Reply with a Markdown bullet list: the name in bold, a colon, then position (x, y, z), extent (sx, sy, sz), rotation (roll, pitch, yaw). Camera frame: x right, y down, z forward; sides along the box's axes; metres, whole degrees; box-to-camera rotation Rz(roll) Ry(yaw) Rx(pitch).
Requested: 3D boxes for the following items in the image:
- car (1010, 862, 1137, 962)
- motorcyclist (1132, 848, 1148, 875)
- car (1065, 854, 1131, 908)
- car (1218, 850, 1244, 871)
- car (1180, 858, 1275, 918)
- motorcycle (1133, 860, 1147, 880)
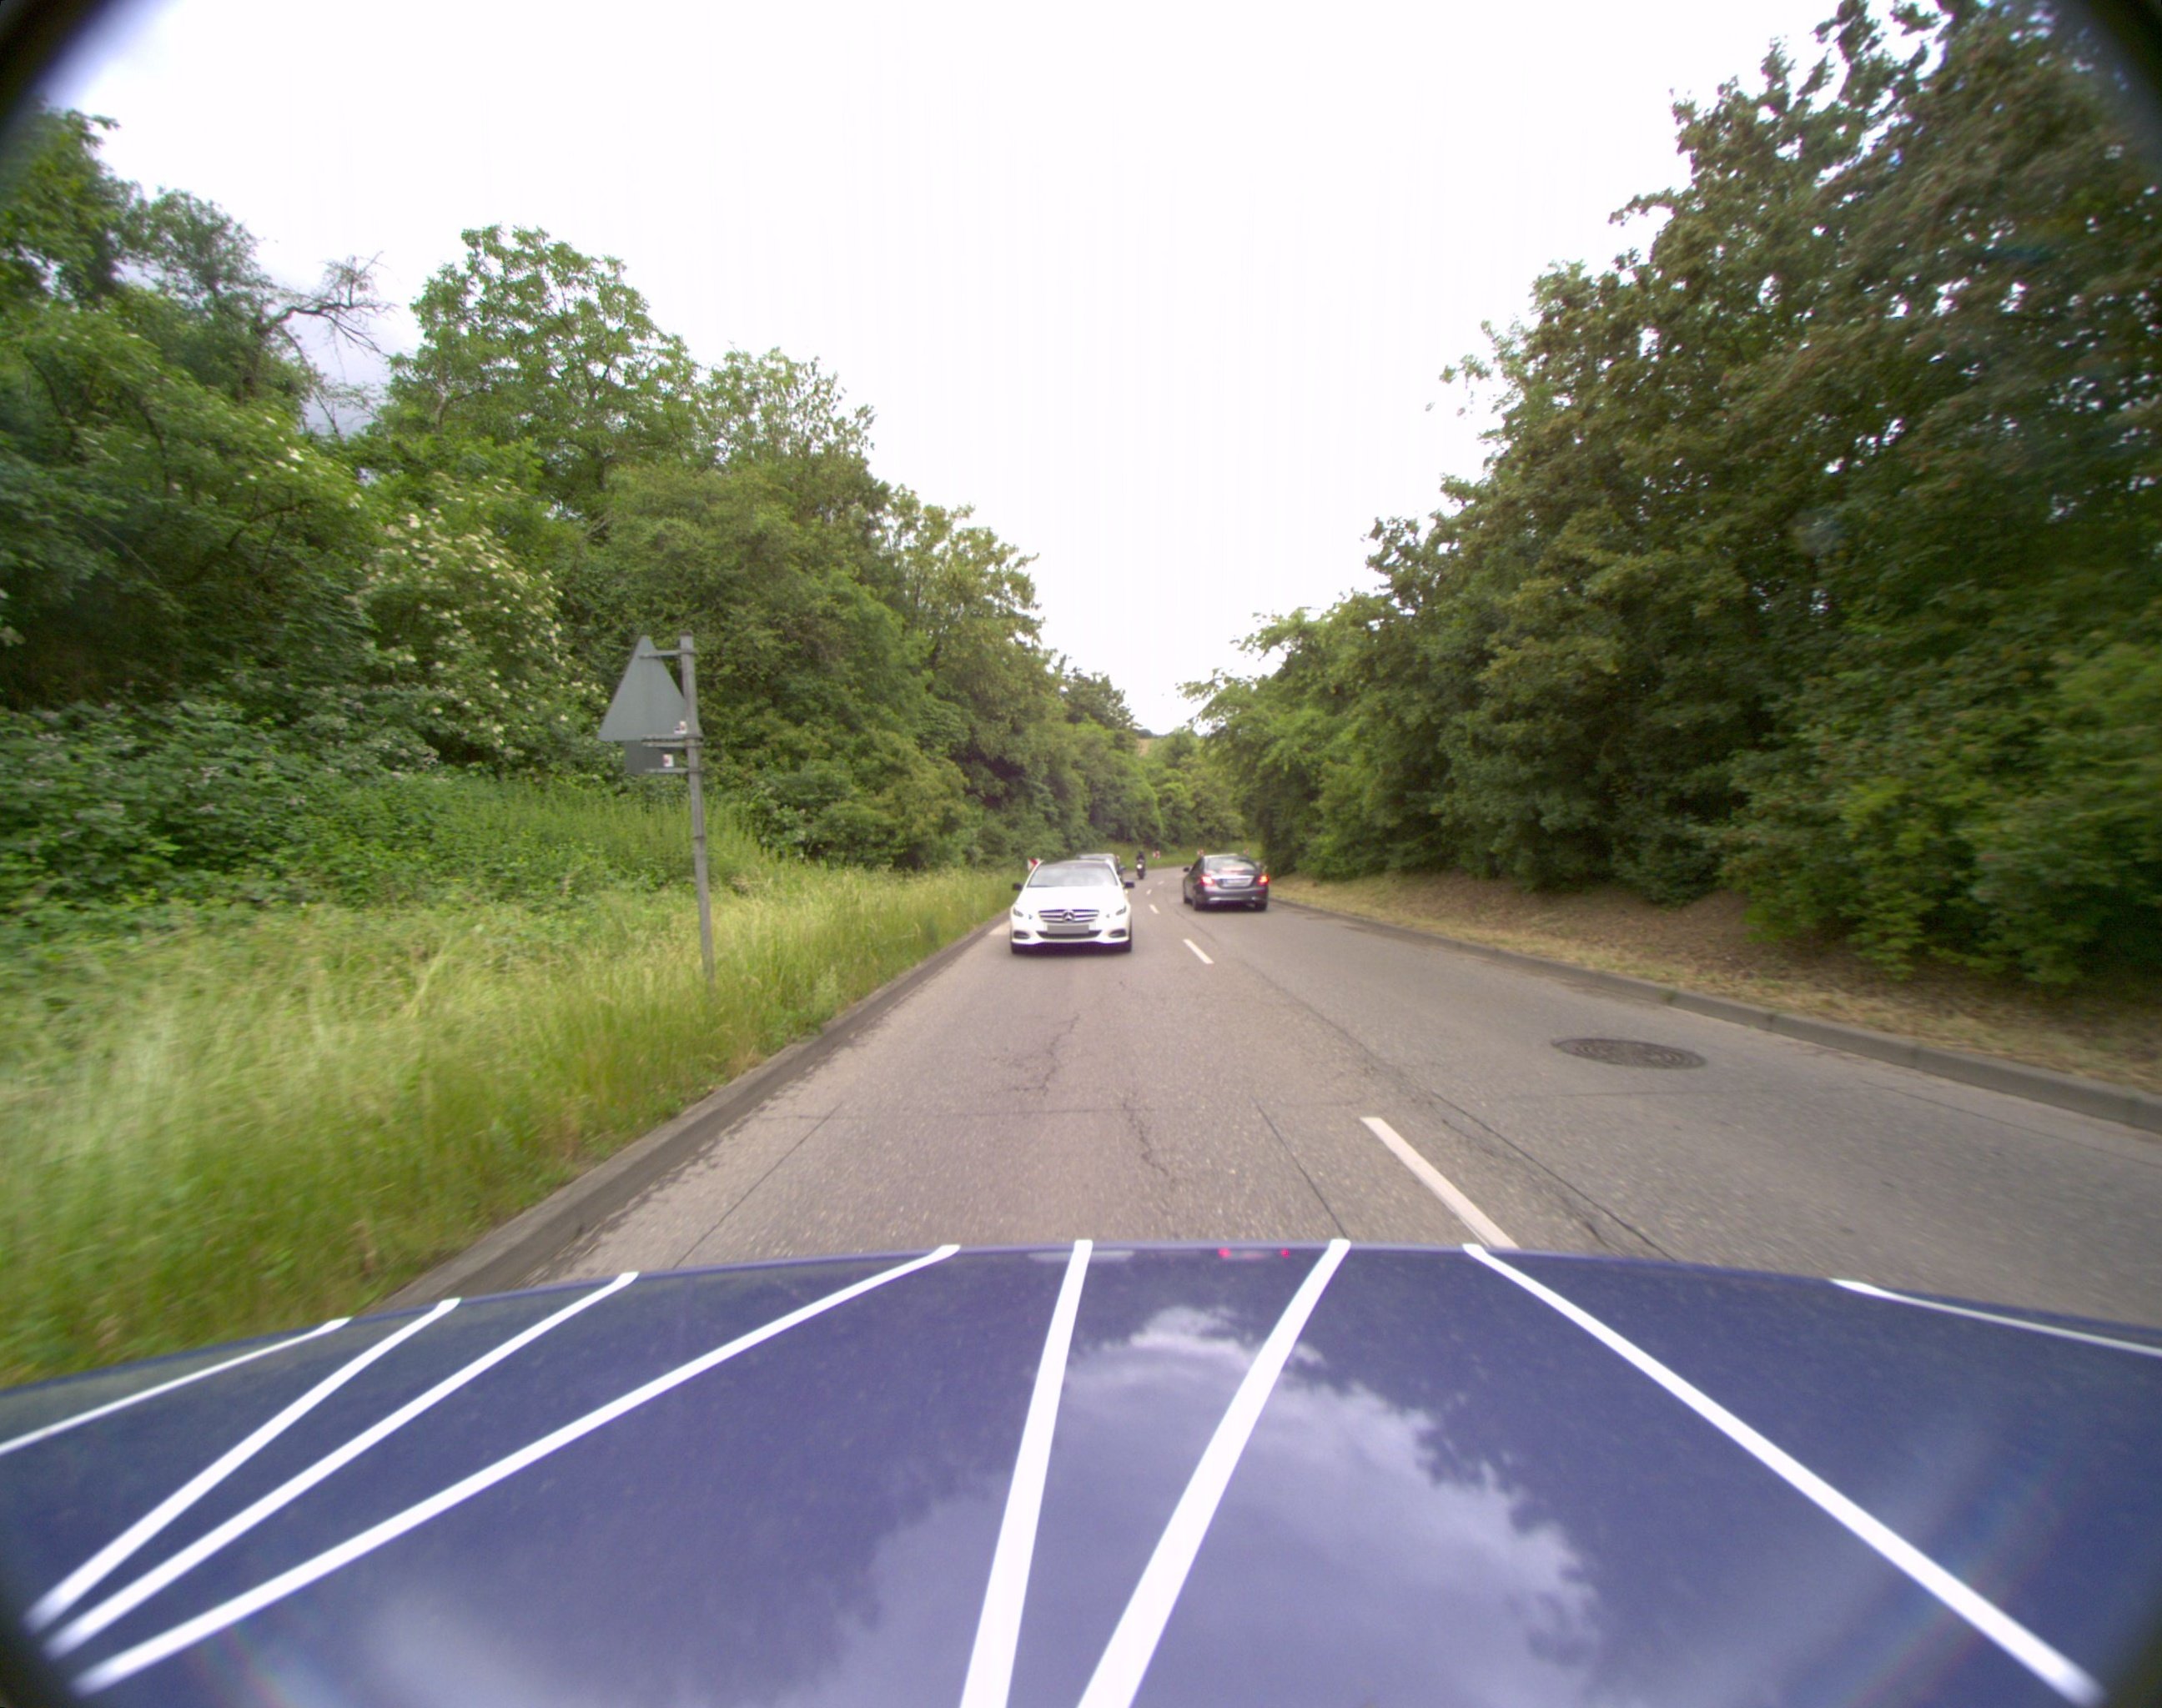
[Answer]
- **car**: position (-0.120, 0.883, 13.306), extent (1.887, 1.414, 3.999), rotation (0, 0, 0)
- **motorcyclist**: position (3.288, 0.431, 42.220), extent (0.818, 1.457, 0.787), rotation (2, 2, 4)
- **car**: position (0.623, 0.792, 24.192), extent (1.822, 1.535, 3.727), rotation (-1, 0, 5)
- **car**: position (10.588, 0.455, 53.603), extent (1.636, 1.397, 3.600), rotation (-1, 0, 13)
- **car**: position (3.860, 0.841, 20.753), extent (1.835, 1.397, 4.432), rotation (0, 0, 1)
- **motorcycle**: position (3.277, 0.879, 42.229), extent (0.702, 0.970, 1.694), rotation (2, 2, 3)
